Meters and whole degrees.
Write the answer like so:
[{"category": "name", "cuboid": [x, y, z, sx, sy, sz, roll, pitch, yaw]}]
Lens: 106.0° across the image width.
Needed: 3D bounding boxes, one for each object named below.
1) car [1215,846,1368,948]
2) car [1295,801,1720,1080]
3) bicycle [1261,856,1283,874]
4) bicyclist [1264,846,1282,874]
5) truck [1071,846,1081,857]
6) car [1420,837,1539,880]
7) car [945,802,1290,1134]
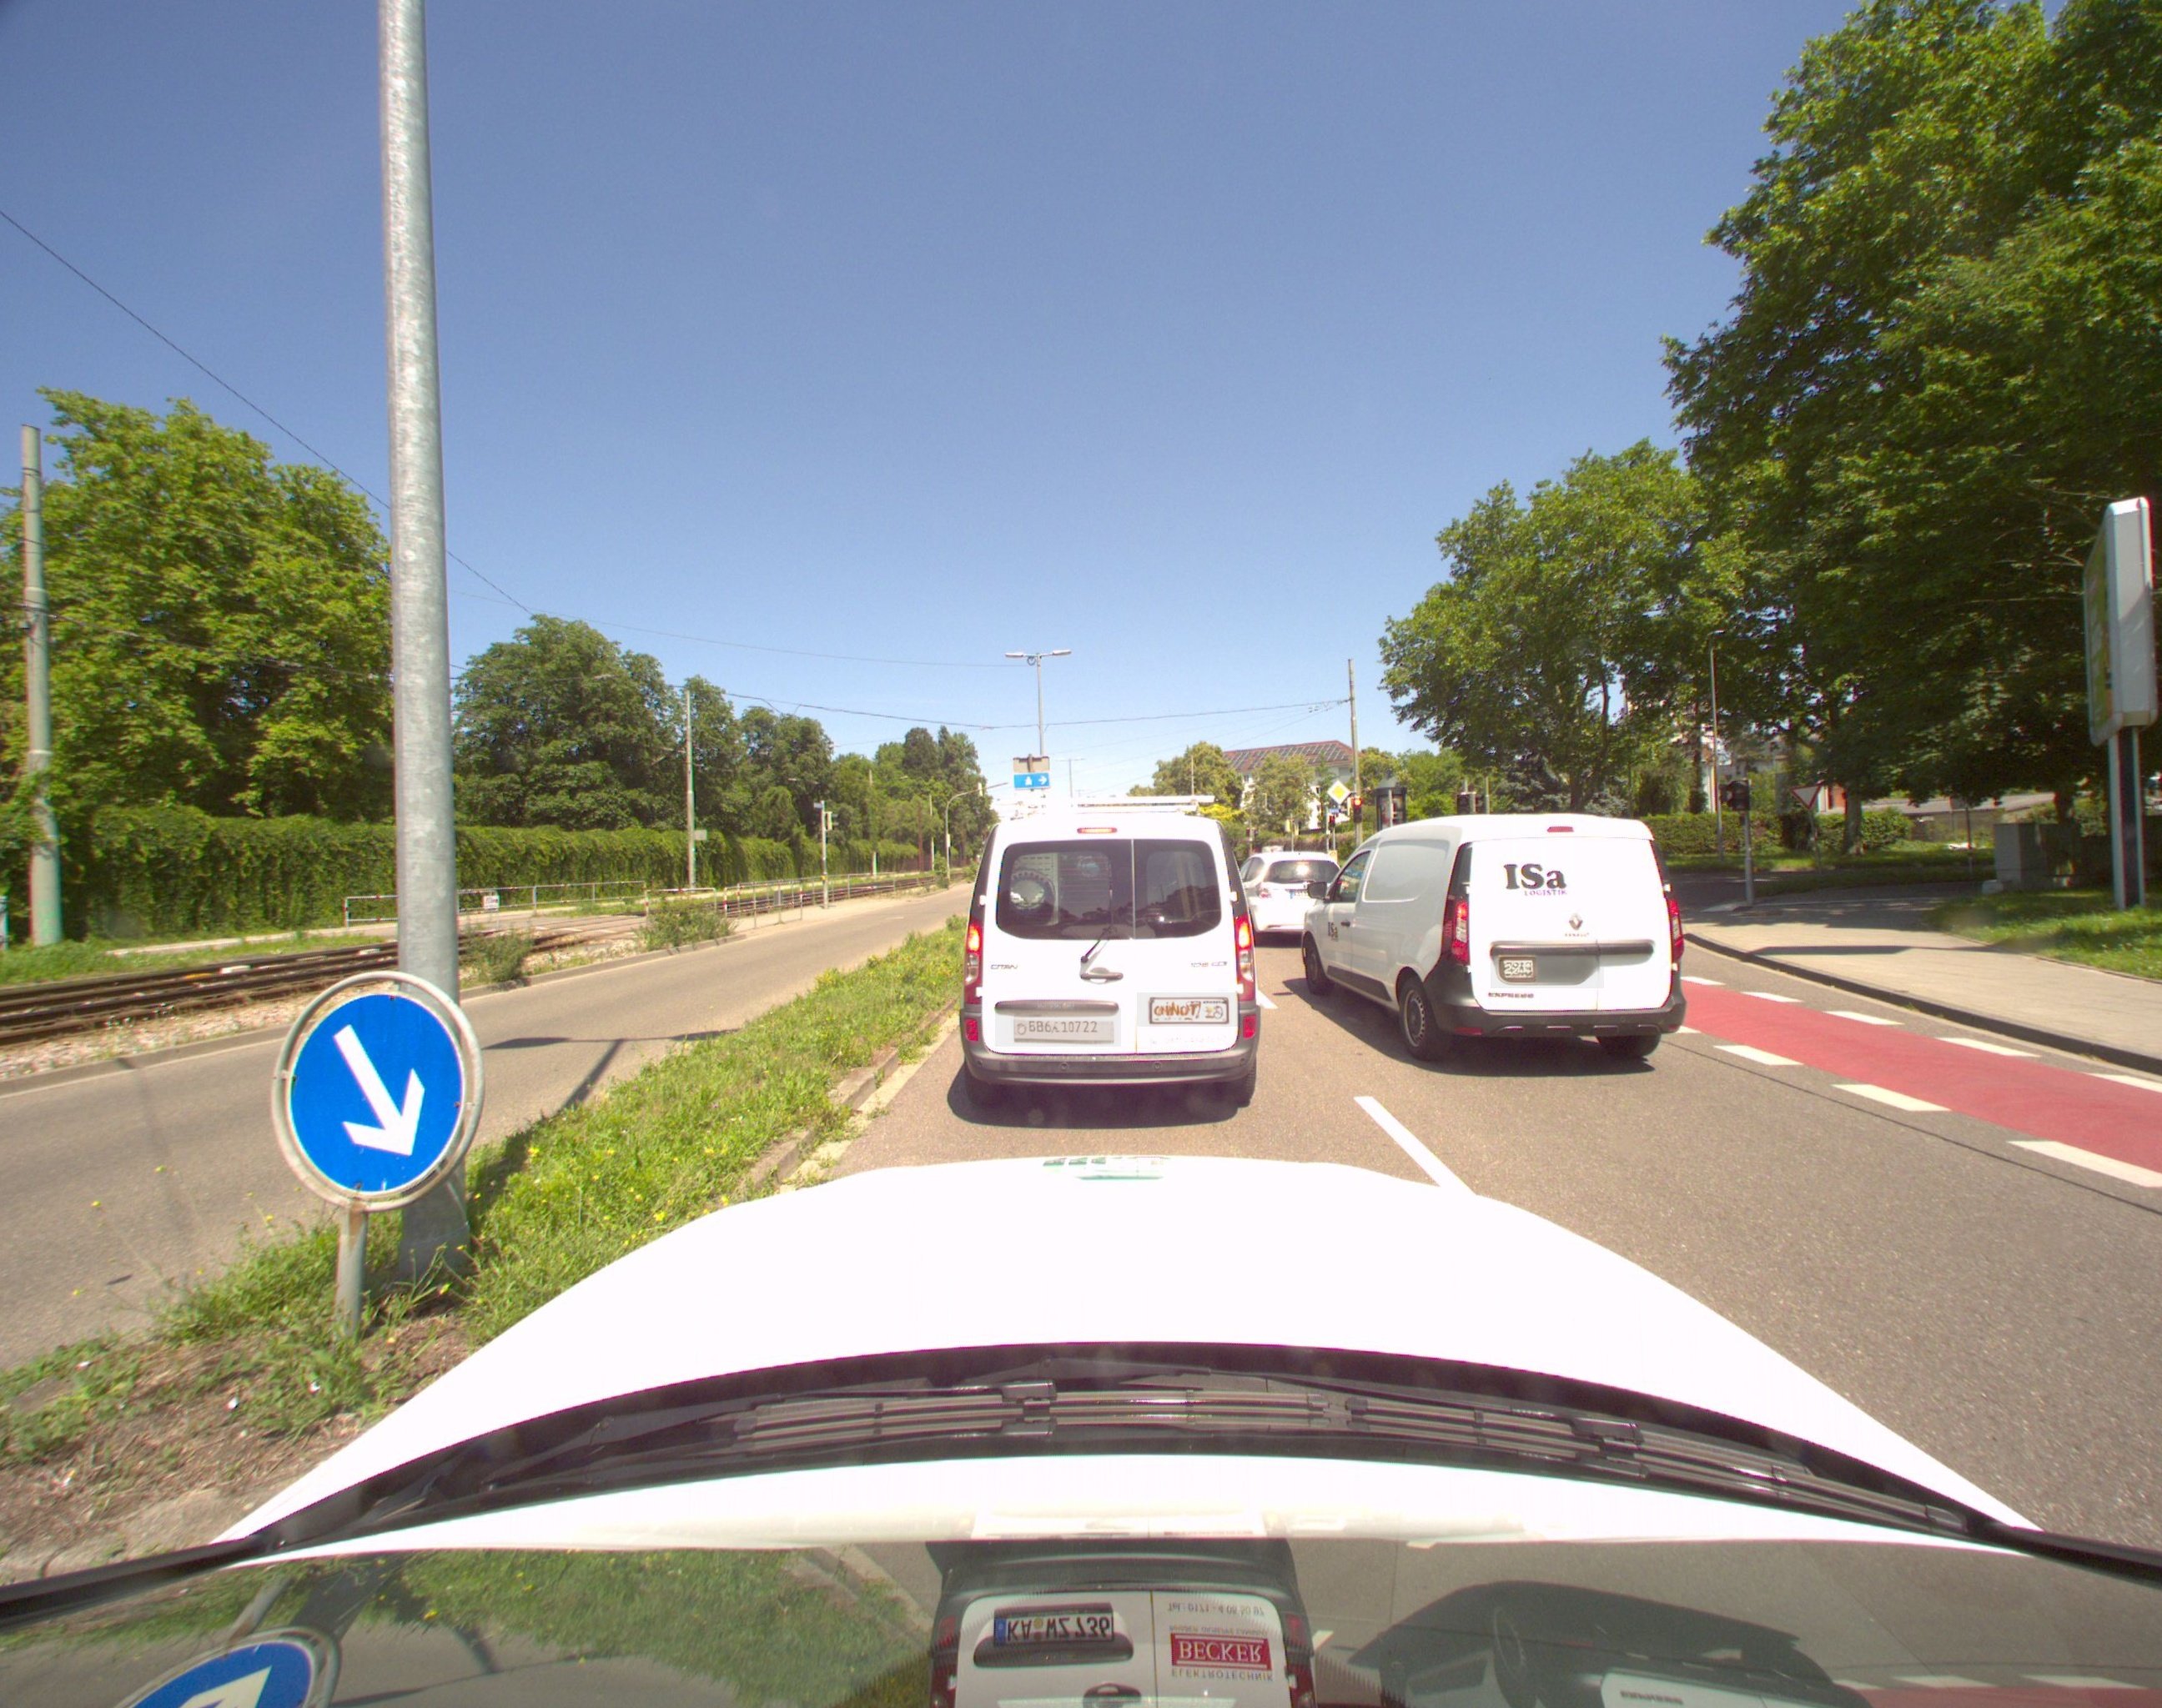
[{"category": "car", "cuboid": [3.612, 0.658, 14.690, 1.828, 1.568, 4.002, 0, 0, 2]}, {"category": "car", "cuboid": [3.283, 0.565, 7.285, 1.721, 1.788, 4.065, 0, 0, 1]}, {"category": "bicycle", "cuboid": [12.756, 0.736, 54.429, 0.890, 1.159, 1.954, -2, -1, -3]}, {"category": "bicyclist", "cuboid": [12.788, 0.397, 54.337, 0.971, 1.788, 0.725, -2, -1, -3]}, {"category": "truck", "cuboid": [-1.243, -0.512, 199.628, 2.131, 2.587, 5.891, 0, -1, 2]}, {"category": "car", "cuboid": [15.621, 0.180, 32.097, 3.958, 1.597, 1.706, -1, 0, 15]}, {"category": "car", "cuboid": [0.260, 0.620, 6.539, 1.814, 1.739, 4.398, -1, 0, 2]}]
